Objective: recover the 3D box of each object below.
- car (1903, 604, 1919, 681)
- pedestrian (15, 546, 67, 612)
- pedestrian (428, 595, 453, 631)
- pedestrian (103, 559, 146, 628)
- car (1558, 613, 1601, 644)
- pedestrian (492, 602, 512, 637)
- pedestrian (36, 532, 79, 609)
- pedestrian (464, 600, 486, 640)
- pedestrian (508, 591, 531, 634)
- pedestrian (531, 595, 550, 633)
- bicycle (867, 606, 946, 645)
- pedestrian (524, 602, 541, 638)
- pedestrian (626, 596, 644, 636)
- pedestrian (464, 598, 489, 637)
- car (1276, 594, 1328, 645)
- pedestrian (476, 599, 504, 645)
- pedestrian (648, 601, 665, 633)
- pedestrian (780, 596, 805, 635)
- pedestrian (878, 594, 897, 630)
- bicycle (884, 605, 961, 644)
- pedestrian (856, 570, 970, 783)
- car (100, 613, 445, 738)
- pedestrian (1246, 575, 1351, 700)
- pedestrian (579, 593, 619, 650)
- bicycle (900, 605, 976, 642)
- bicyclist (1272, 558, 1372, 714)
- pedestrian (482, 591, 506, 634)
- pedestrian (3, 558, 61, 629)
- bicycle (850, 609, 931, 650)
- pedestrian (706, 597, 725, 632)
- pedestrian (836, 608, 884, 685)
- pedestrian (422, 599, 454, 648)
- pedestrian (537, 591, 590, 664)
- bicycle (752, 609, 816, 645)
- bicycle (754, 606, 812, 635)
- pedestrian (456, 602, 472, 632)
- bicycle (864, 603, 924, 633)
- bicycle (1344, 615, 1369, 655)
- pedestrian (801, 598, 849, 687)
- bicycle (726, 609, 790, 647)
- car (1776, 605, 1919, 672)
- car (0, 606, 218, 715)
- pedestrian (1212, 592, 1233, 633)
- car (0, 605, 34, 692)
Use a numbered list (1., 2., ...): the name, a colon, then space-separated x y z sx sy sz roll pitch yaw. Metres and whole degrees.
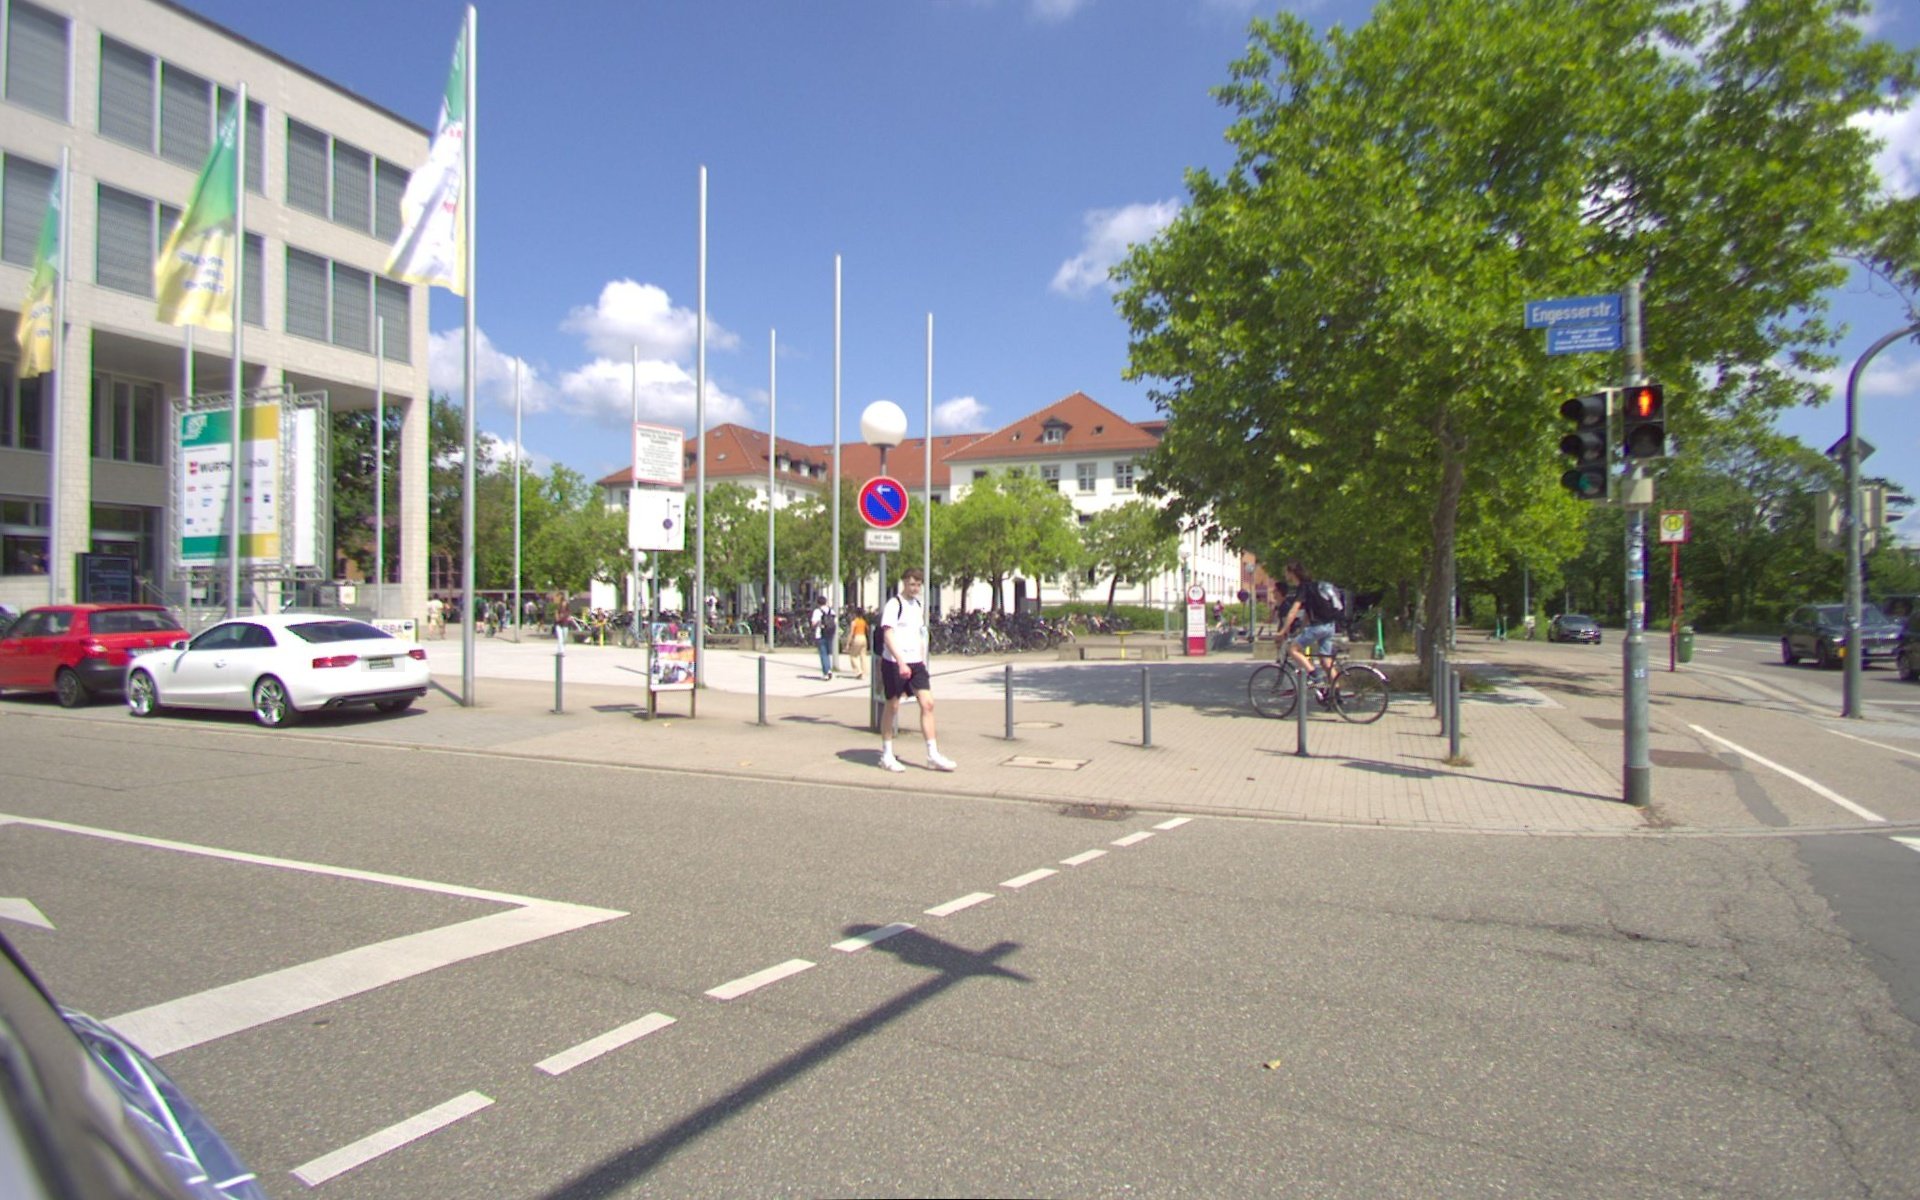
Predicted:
1. car: 21.098 0.887 20.434 1.643 1.673 4.261 -1 -1 24
2. pedestrian: -28.652 -0.635 31.564 0.968 2.029 0.745 0 0 2
3. pedestrian: -23.595 0.598 45.988 0.733 1.626 0.727 0 0 26
4. pedestrian: -26.498 -0.218 32.118 0.794 2.161 0.705 0 0 2
5. car: 30.680 1.376 50.202 1.633 1.497 3.961 -1 -1 29
6. pedestrian: -26.491 1.107 58.530 0.876 2.029 0.738 0 0 -10
7. pedestrian: -29.157 -0.944 32.698 0.727 2.440 0.760 0 -1 -3
8. pedestrian: -24.843 1.024 51.840 0.875 2.000 0.841 0 0 -34
9. pedestrian: -20.931 0.594 48.086 0.733 2.029 0.754 0 0 28
10. pedestrian: -20.355 0.661 49.111 0.748 1.851 0.702 0 0 -12
11. bicycle: -2.037 0.933 38.341 2.941 1.422 1.054 0 0 32
12. pedestrian: -24.035 1.111 56.938 0.749 2.029 0.738 0 0 -10
13. pedestrian: -16.698 0.798 52.010 0.749 2.029 0.738 0 0 -10
14. pedestrian: -22.184 0.792 46.453 0.733 1.787 0.754 0 -1 21
15. car: 14.143 0.796 41.741 1.852 1.954 4.743 0 -1 21
16. pedestrian: -18.379 0.867 39.580 0.749 1.770 0.738 0 -1 0
17. pedestrian: -19.131 1.072 63.854 0.875 2.029 0.739 0 0 -33
18. pedestrian: -9.742 0.911 58.839 1.034 2.217 1.017 0 -1 21
19. pedestrian: -4.105 0.677 57.154 0.810 2.029 0.703 -1 -1 30
20. bicycle: -1.463 0.928 39.304 2.941 1.422 1.054 0 0 32
21. pedestrian: -0.465 0.665 9.532 0.709 1.865 1.092 -1 0 -23
22. car: -9.346 0.922 13.711 4.633 1.406 1.669 0 1 24
23. pedestrian: 5.282 0.581 15.822 1.394 1.869 0.697 -2 -2 33
24. pedestrian: -12.617 0.730 35.399 0.938 1.955 0.982 0 -1 20
25. bicycle: -0.882 0.923 40.276 2.941 1.422 1.054 0 0 32
26. bicyclist: 4.468 0.429 12.488 0.996 1.831 0.783 -1 -1 33
27. pedestrian: -22.022 0.597 47.855 0.733 2.029 0.754 0 0 28
28. pedestrian: -27.000 -0.190 29.450 0.904 2.029 0.973 0 0 23
29. bicycle: -2.590 1.055 37.342 2.941 1.422 1.054 0 0 32
30. pedestrian: -15.329 0.917 63.392 0.950 2.217 0.971 0 -1 0
31. pedestrian: -2.209 1.012 22.376 0.742 1.663 0.839 0 -1 24
32. pedestrian: -19.259 0.860 37.344 0.752 1.770 0.735 0 -1 14
33. pedestrian: -11.313 0.764 28.904 0.980 2.029 1.052 0 -1 20
34. bicycle: -7.311 1.094 41.845 1.131 1.422 2.953 0 0 -45
35. bicycle: -9.073 1.052 51.903 2.941 1.422 1.136 0 0 31
36. pedestrian: -32.116 1.084 65.564 0.804 1.948 0.738 0 0 -12
37. bicycle: -3.258 0.884 49.831 2.941 1.422 1.054 0 0 32
38. bicycle: 11.993 1.033 30.621 0.660 1.122 2.599 0 0 21
39. pedestrian: -2.907 0.907 21.784 0.765 1.873 0.716 0 -1 25
40. bicycle: -8.190 1.099 40.956 1.131 1.422 2.953 0 0 -45
41. car: 24.186 0.990 27.695 1.643 1.673 4.786 0 -1 24
42. car: -13.732 0.863 15.853 3.886 1.478 1.669 0 1 24
43. pedestrian: 14.554 0.685 56.100 1.032 2.217 1.153 0 -1 17
44. car: -18.640 0.864 17.989 4.172 1.478 1.739 0 1 25
